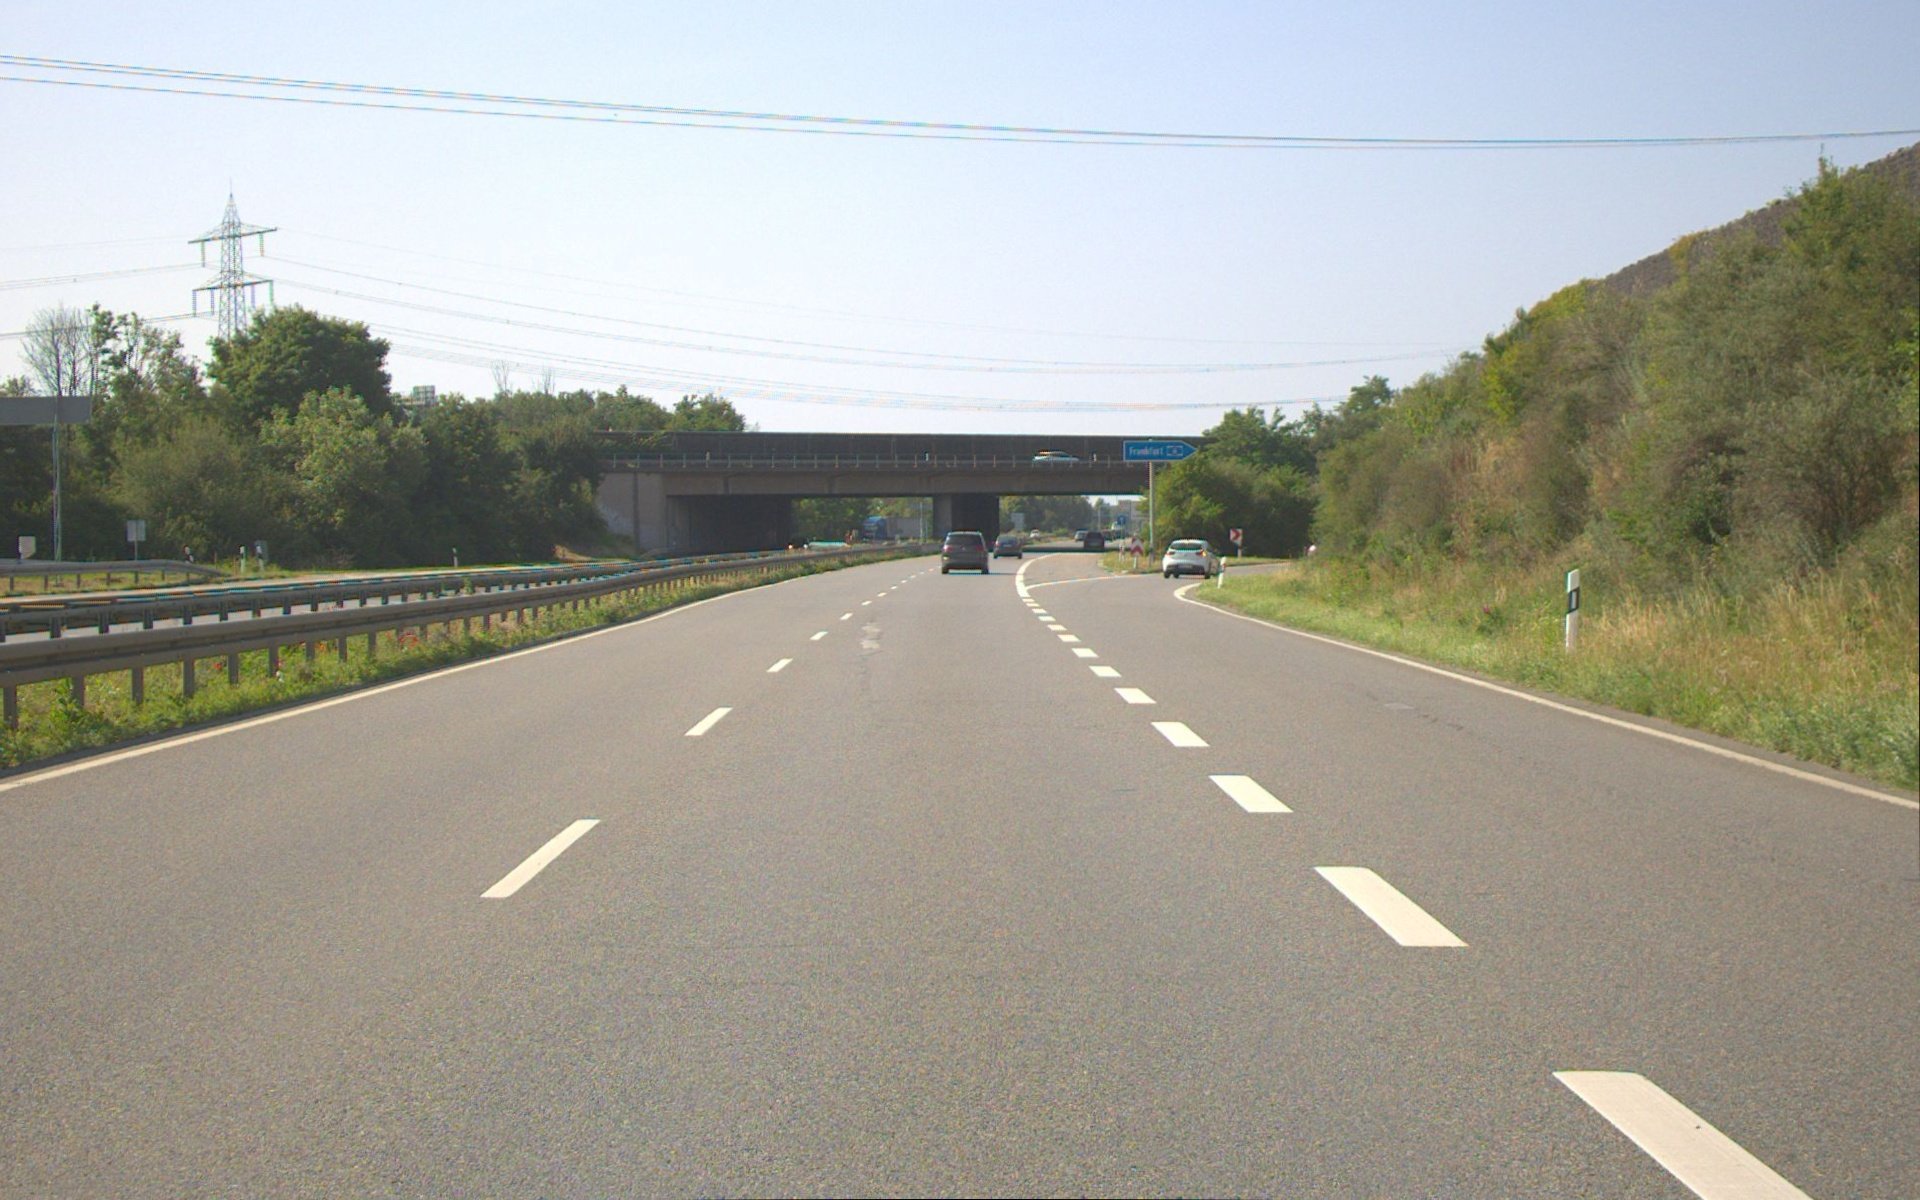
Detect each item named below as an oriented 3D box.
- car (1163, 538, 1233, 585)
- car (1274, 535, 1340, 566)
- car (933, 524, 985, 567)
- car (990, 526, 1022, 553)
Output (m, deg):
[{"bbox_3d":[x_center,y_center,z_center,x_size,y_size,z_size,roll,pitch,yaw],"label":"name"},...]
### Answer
[{"bbox_3d":[8.947,-1.453,129.015,1.797,1.659,3.997,3,2,15],"label":"car"},{"bbox_3d":[15.977,-2.272,158.235,1.904,1.293,3.995,3,2,22],"label":"car"},{"bbox_3d":[-0.019,-2.120,133.494,1.850,1.639,4.000,1,1,2],"label":"car"},{"bbox_3d":[2.853,-3.740,213.558,1.850,1.639,4.000,1,1,2],"label":"car"}]
